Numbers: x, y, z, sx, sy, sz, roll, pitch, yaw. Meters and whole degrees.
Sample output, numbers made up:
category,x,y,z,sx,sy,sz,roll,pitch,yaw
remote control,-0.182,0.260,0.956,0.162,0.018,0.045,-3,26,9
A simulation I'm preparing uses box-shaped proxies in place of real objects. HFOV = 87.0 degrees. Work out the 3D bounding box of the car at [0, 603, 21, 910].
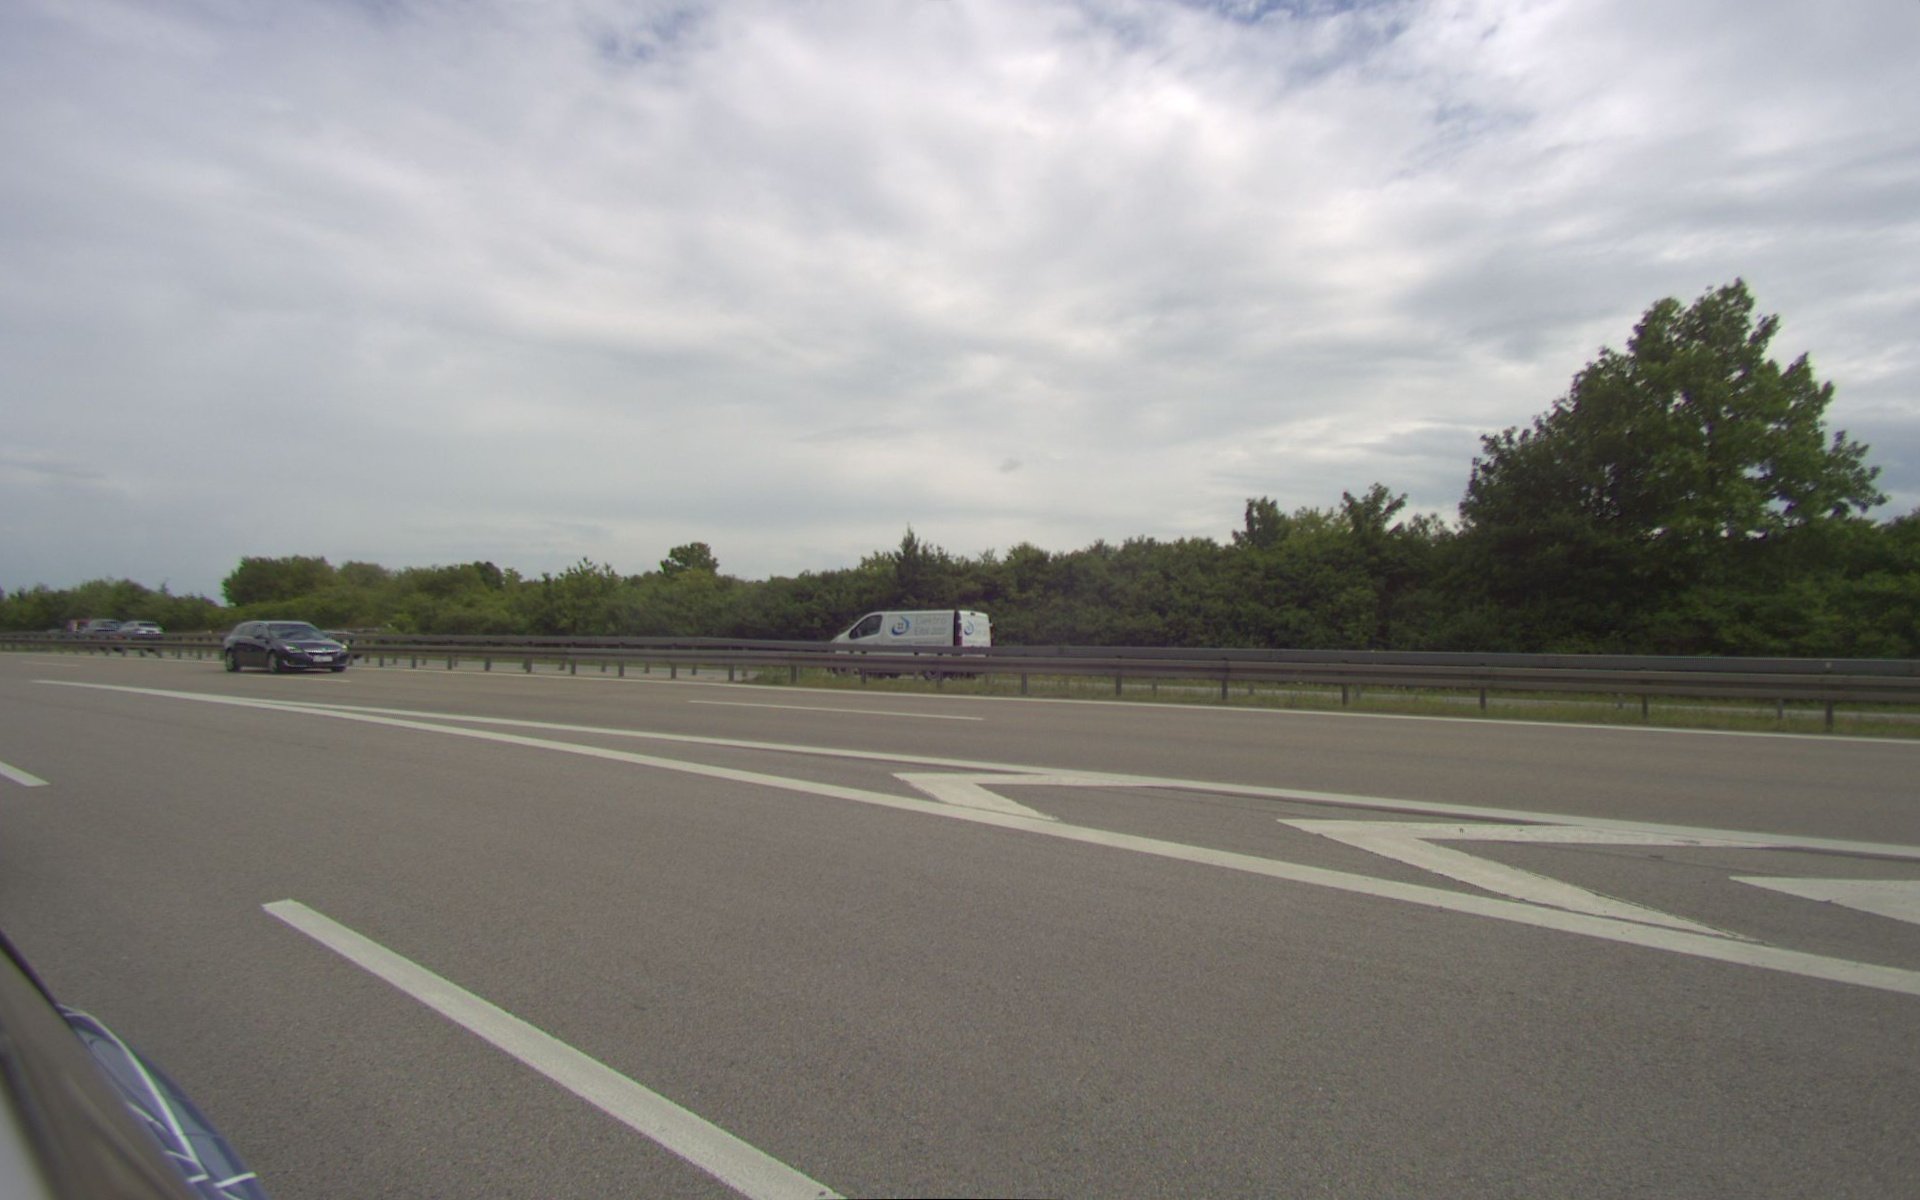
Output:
category,x,y,z,sx,sy,sz,roll,pitch,yaw
car,-6.842,0.798,5.500,4.021,1.509,1.828,-1,-1,36

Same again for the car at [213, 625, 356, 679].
category,x,y,z,sx,sy,sz,roll,pitch,yaw
car,-19.311,1.447,28.857,4.784,1.435,1.707,-1,-2,34

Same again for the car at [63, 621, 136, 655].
category,x,y,z,sx,sy,sz,roll,pitch,yaw
car,-61.540,2.710,72.341,6.657,2.348,2.145,-1,-2,33

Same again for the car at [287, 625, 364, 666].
category,x,y,z,sx,sy,sz,roll,pitch,yaw
car,-33.835,2.385,53.946,3.987,2.029,1.978,-1,0,32

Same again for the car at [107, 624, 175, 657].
category,x,y,z,sx,sy,sz,roll,pitch,yaw
car,-55.321,2.689,68.333,4.860,2.149,2.145,-1,-2,33

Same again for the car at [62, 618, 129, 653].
category,x,y,z,sx,sy,sz,roll,pitch,yaw
car,-51.552,2.092,60.342,3.988,2.029,1.978,-1,-2,33

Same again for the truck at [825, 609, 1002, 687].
category,x,y,z,sx,sy,sz,roll,pitch,yaw
truck,-1.340,1.306,28.299,4.705,2.029,1.977,-1,-2,34
